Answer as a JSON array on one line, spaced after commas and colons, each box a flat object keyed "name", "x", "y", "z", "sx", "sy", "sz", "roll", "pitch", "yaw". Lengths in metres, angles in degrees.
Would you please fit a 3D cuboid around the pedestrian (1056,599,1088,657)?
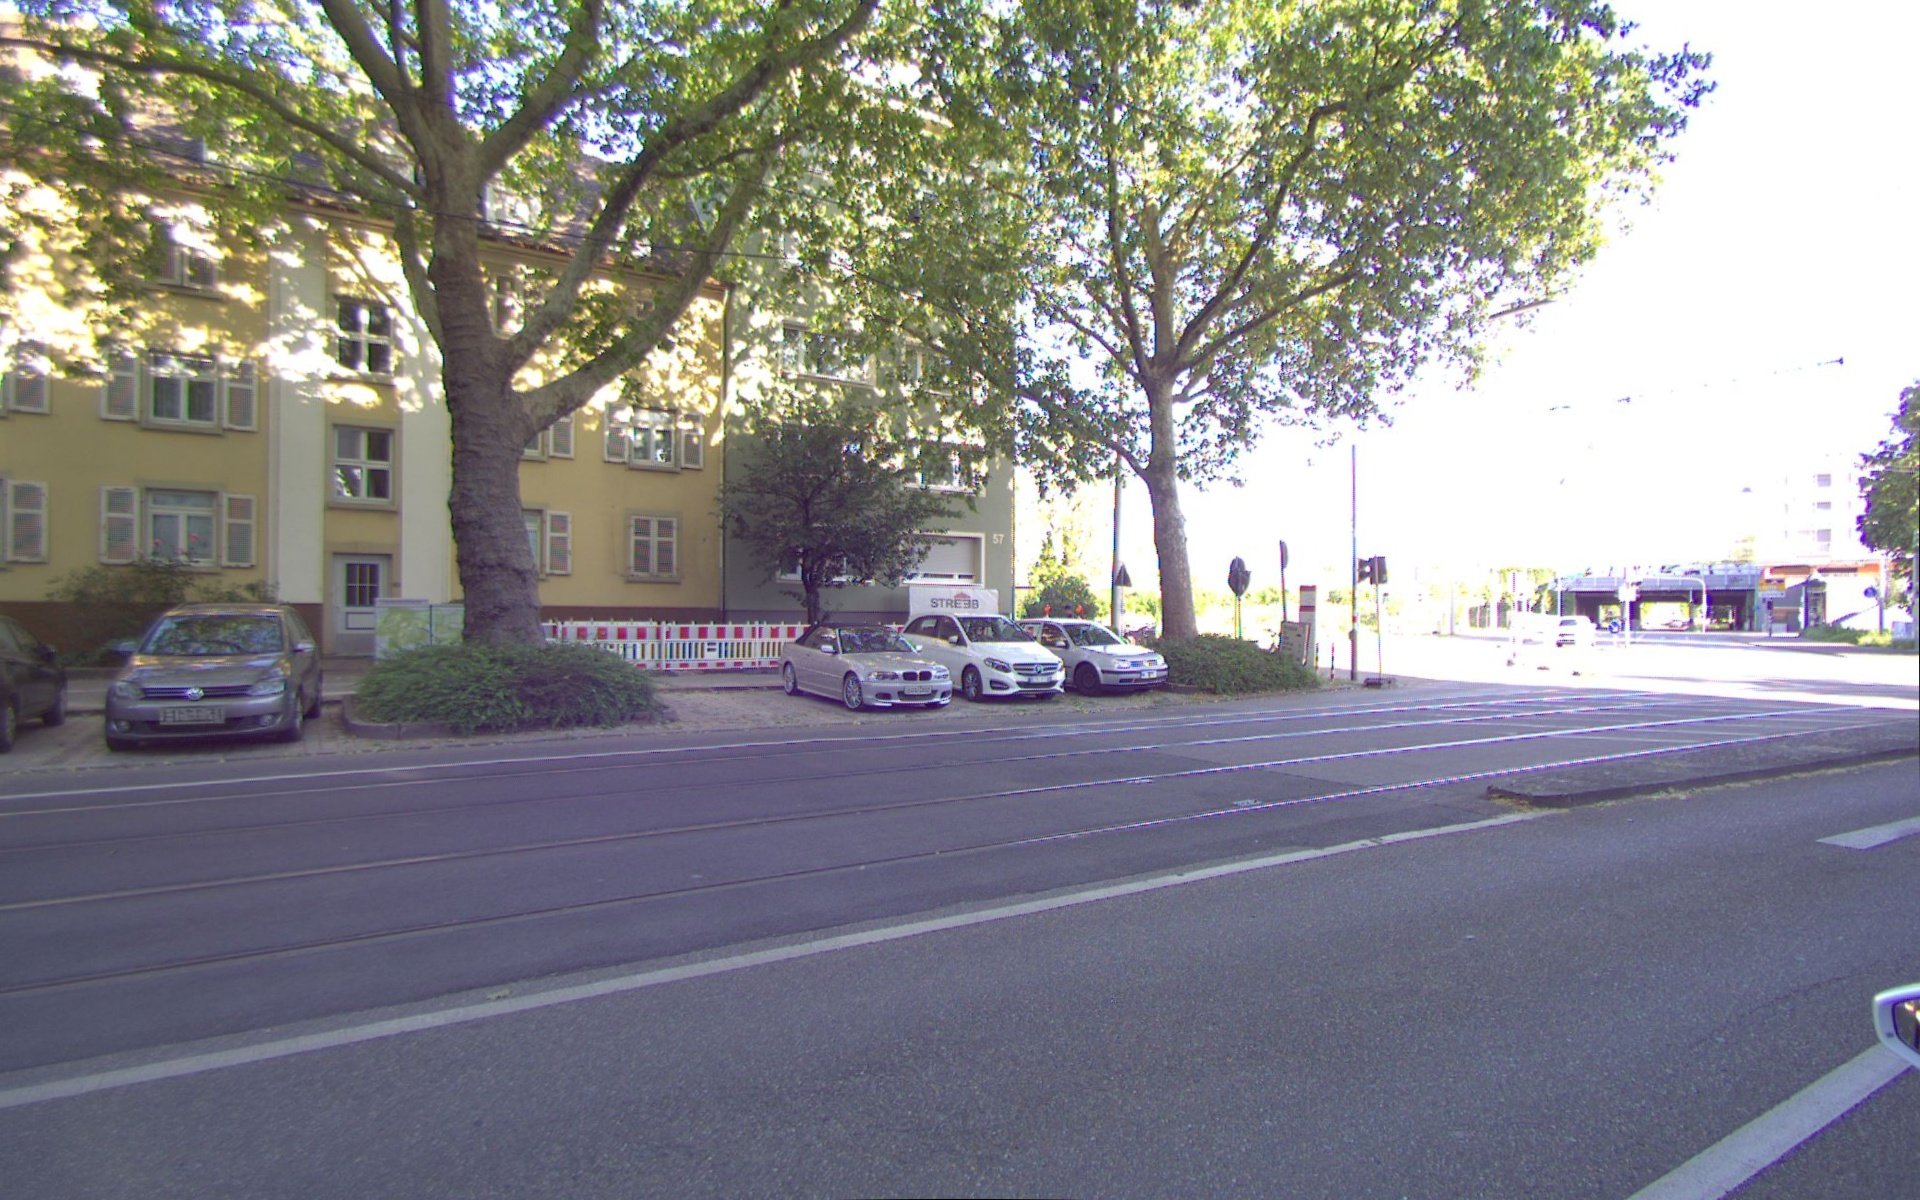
[{"name": "pedestrian", "x": 3.121, "y": 0.762, "z": 27.992, "sx": 0.592, "sy": 1.589, "sz": 0.741, "roll": 0, "pitch": 0, "yaw": 33}]

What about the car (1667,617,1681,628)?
[{"name": "car", "x": 135.044, "y": 4.276, "z": 190.058, "sx": 1.966, "sy": 2.040, "sz": 3.989, "roll": 2, "pitch": 0, "yaw": 34}]

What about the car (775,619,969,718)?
[{"name": "car", "x": -1.639, "y": 1.088, "z": 17.302, "sx": 1.822, "sy": 1.387, "sz": 4.052, "roll": 2, "pitch": 0, "yaw": -29}]

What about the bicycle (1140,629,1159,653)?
[{"name": "bicycle", "x": 6.490, "y": 1.384, "z": 34.490, "sx": 0.351, "sy": 0.769, "sz": 1.781, "roll": 0, "pitch": -1, "yaw": 1}]

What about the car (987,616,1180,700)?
[{"name": "car", "x": 2.426, "y": 1.119, "z": 20.576, "sx": 1.688, "sy": 1.436, "sz": 3.959, "roll": 2, "pitch": 0, "yaw": -36}]

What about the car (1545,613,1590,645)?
[{"name": "car", "x": 33.338, "y": 1.557, "z": 55.029, "sx": 1.966, "sy": 1.653, "sz": 4.618, "roll": 0, "pitch": -1, "yaw": 33}]

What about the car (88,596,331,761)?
[{"name": "car", "x": -8.957, "y": 0.812, "z": 12.349, "sx": 1.822, "sy": 1.641, "sz": 4.052, "roll": 2, "pitch": 0, "yaw": -29}]

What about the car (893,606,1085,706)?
[{"name": "car", "x": 0.425, "y": 0.986, "z": 19.193, "sx": 1.822, "sy": 1.633, "sz": 4.052, "roll": 2, "pitch": 0, "yaw": -29}]

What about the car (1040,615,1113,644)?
[{"name": "car", "x": 7.065, "y": 1.757, "z": 61.062, "sx": 3.933, "sy": 1.439, "sz": 1.887, "roll": 0, "pitch": 5, "yaw": 35}]

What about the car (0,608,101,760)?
[{"name": "car", "x": -11.393, "y": 0.861, "z": 11.437, "sx": 1.673, "sy": 1.466, "sz": 3.834, "roll": 2, "pitch": 0, "yaw": -29}]

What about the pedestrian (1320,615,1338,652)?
[{"name": "pedestrian", "x": 16.542, "y": 1.493, "z": 45.015, "sx": 0.591, "sy": 1.617, "sz": 0.682, "roll": 2, "pitch": 0, "yaw": 35}]

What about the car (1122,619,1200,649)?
[{"name": "car", "x": 11.540, "y": 1.917, "z": 57.636, "sx": 3.933, "sy": 1.439, "sz": 1.887, "roll": 0, "pitch": 5, "yaw": 35}]

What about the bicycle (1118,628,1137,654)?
[{"name": "bicycle", "x": 5.406, "y": 1.312, "z": 32.379, "sx": 0.351, "sy": 0.769, "sz": 1.781, "roll": 0, "pitch": -1, "yaw": 18}]
